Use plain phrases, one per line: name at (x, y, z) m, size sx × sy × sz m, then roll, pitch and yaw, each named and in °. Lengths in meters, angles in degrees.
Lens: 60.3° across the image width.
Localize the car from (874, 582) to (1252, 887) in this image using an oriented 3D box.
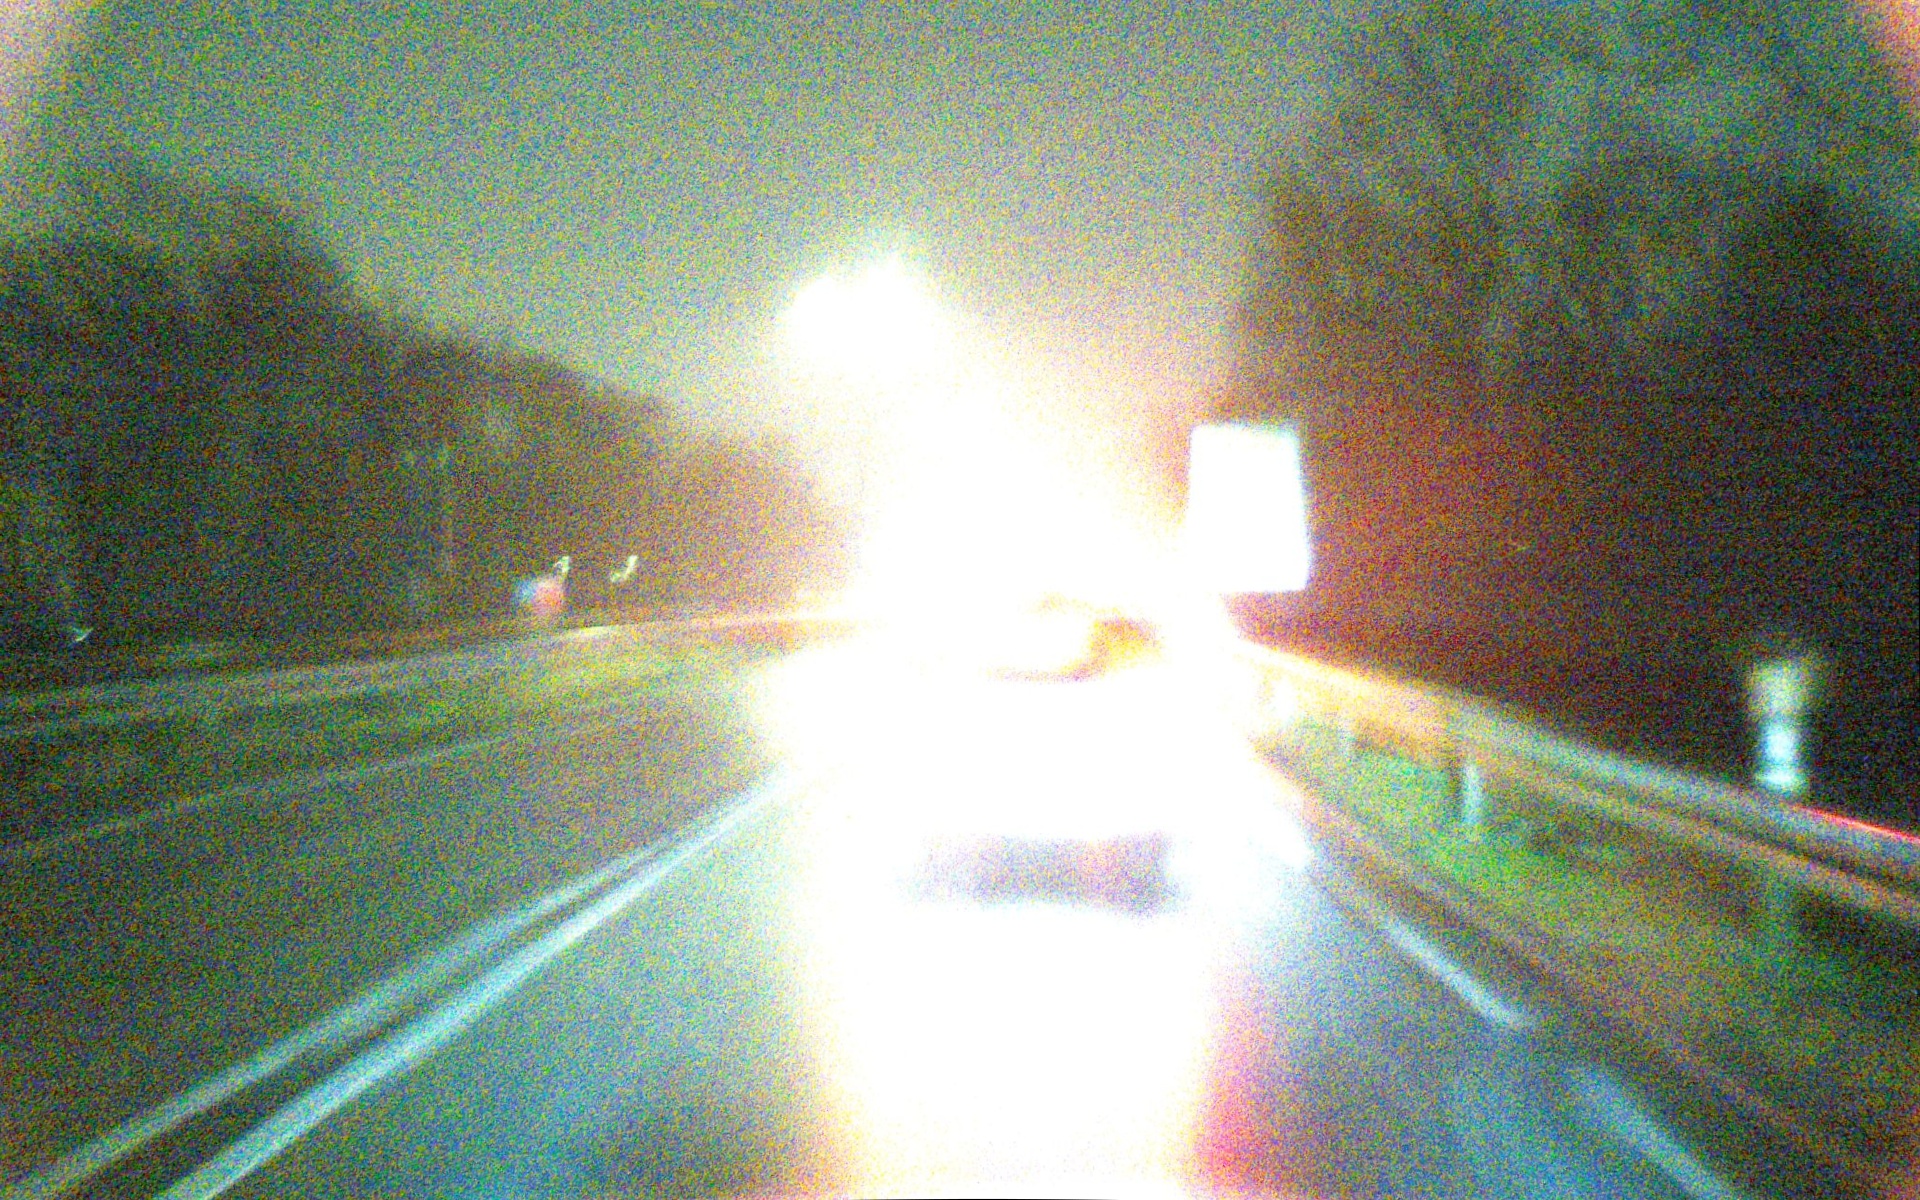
car at (0.715, 0.684, 10.231) m, size 1.903 × 1.517 × 3.718 m, roll 0°, pitch 0°, yaw 6°

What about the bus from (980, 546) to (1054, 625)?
bus at (2.592, -0.631, 72.652) m, size 2.686 × 3.178 × 9.207 m, roll 2°, pitch 0°, yaw 5°

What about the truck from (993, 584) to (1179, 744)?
truck at (2.492, 1.127, 31.036) m, size 3.004 × 2.573 × 7.171 m, roll 2°, pitch -1°, yaw 6°

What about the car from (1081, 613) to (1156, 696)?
car at (4.030, 1.365, 42.505) m, size 1.797 × 1.982 × 4.002 m, roll 2°, pitch -1°, yaw 4°
